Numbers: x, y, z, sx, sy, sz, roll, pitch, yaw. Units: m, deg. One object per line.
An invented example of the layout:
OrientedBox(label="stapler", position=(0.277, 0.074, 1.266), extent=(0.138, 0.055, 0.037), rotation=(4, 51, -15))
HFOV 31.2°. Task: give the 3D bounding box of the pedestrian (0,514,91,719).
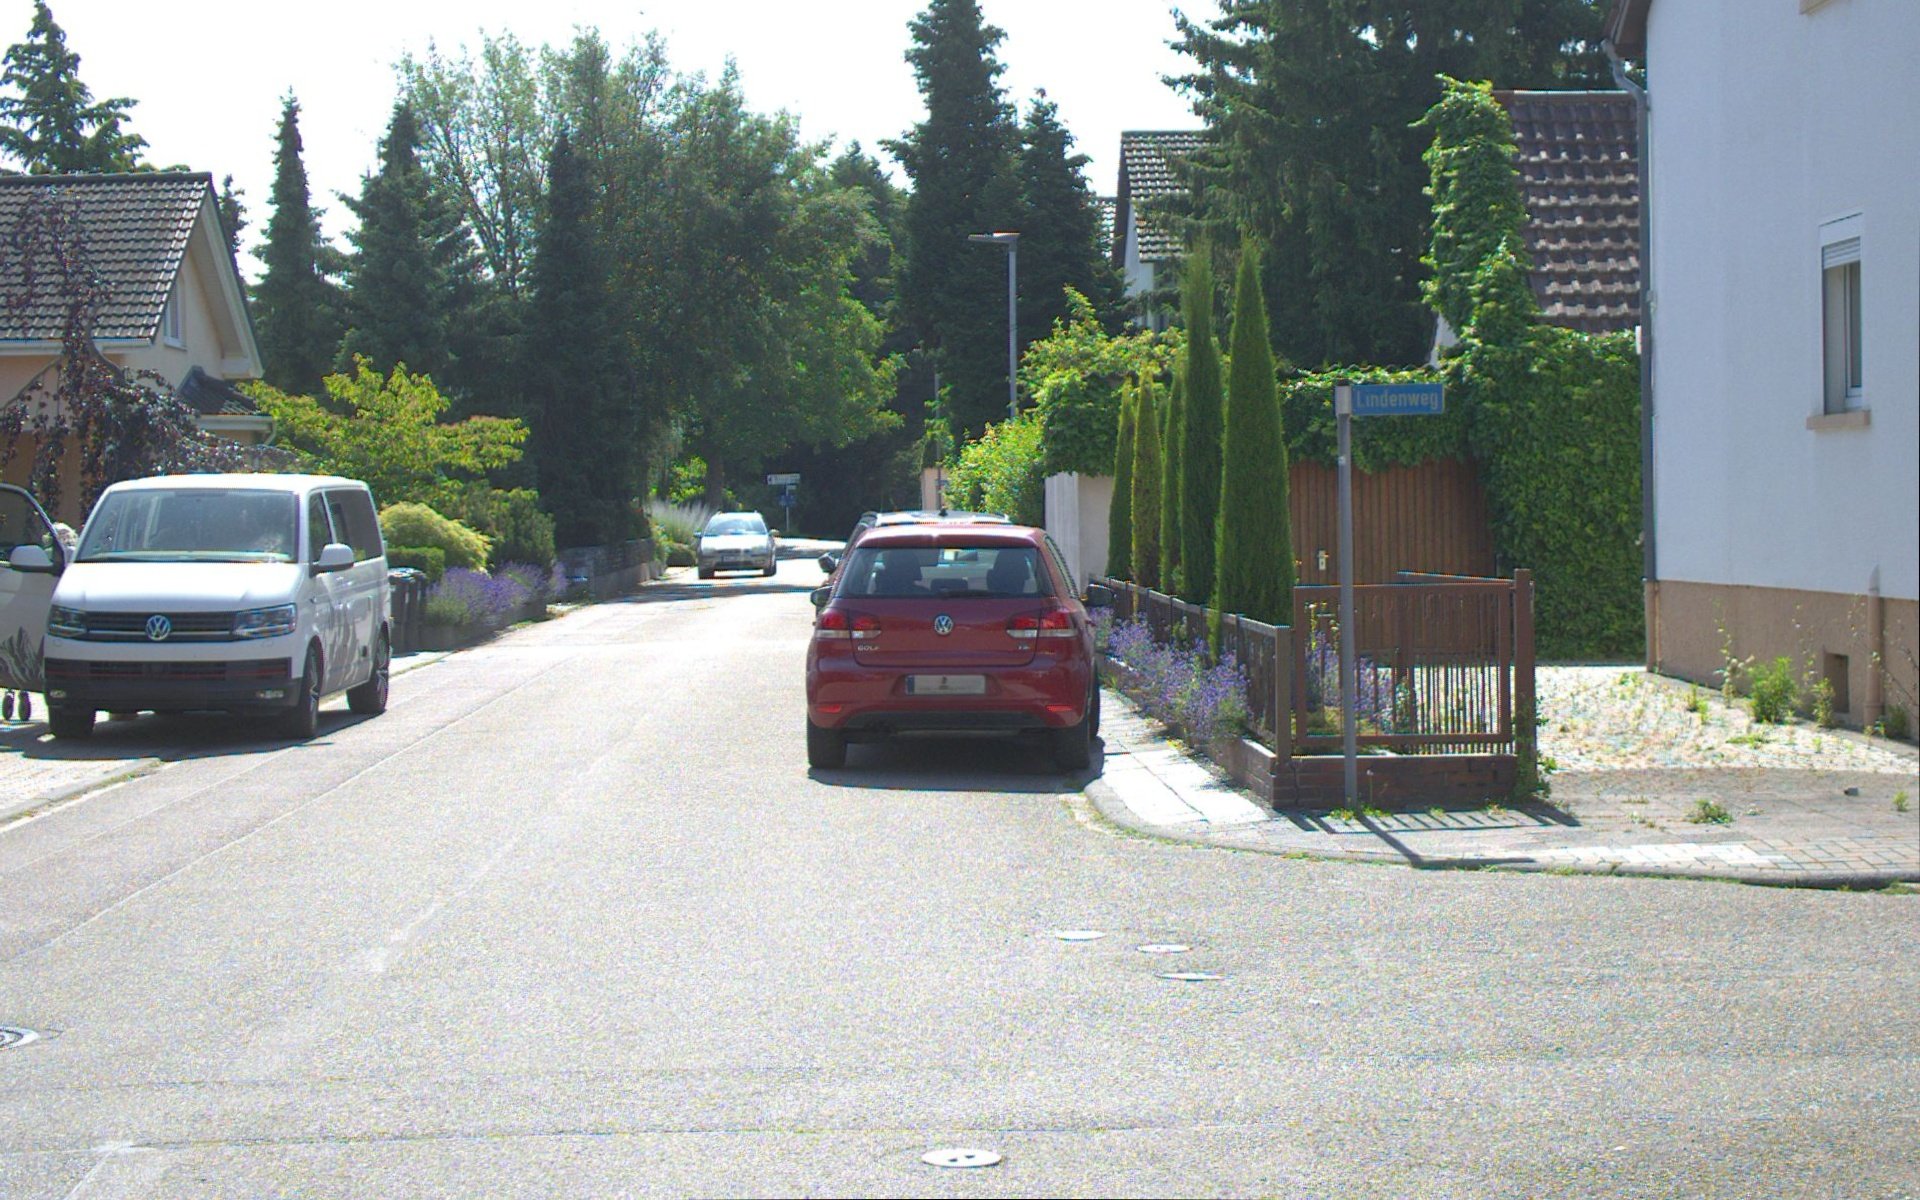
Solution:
OrientedBox(label="pedestrian", position=(-7.153, 0.113, 26.307), extent=(0.718, 1.533, 0.641), rotation=(1, 2, 32))

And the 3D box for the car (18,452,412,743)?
OrientedBox(label="car", position=(-5.590, -0.079, 26.450), extent=(1.929, 2.007, 4.896), rotation=(-1, 1, 0))

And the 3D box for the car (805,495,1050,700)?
OrientedBox(label="car", position=(-0.343, -0.073, 29.025), extent=(1.822, 1.610, 4.001), rotation=(0, 1, -4))

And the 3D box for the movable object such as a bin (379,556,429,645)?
OrientedBox(label="movable object such as a bin", position=(-6.485, 0.004, 40.075), extent=(0.494, 1.021, 0.447), rotation=(-1, 2, -1))

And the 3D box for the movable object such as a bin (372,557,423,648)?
OrientedBox(label="movable object such as a bin", position=(-6.478, 0.025, 39.606), extent=(0.494, 1.021, 0.447), rotation=(-1, 2, -1))

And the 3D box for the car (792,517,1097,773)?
OrientedBox(label="car", position=(-0.025, 0.214, 22.191), extent=(1.775, 1.474, 4.000), rotation=(1, 1, 2))

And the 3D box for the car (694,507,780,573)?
OrientedBox(label="car", position=(-5.174, -1.421, 80.226), extent=(1.752, 1.482, 4.376), rotation=(-1, 1, -1))
